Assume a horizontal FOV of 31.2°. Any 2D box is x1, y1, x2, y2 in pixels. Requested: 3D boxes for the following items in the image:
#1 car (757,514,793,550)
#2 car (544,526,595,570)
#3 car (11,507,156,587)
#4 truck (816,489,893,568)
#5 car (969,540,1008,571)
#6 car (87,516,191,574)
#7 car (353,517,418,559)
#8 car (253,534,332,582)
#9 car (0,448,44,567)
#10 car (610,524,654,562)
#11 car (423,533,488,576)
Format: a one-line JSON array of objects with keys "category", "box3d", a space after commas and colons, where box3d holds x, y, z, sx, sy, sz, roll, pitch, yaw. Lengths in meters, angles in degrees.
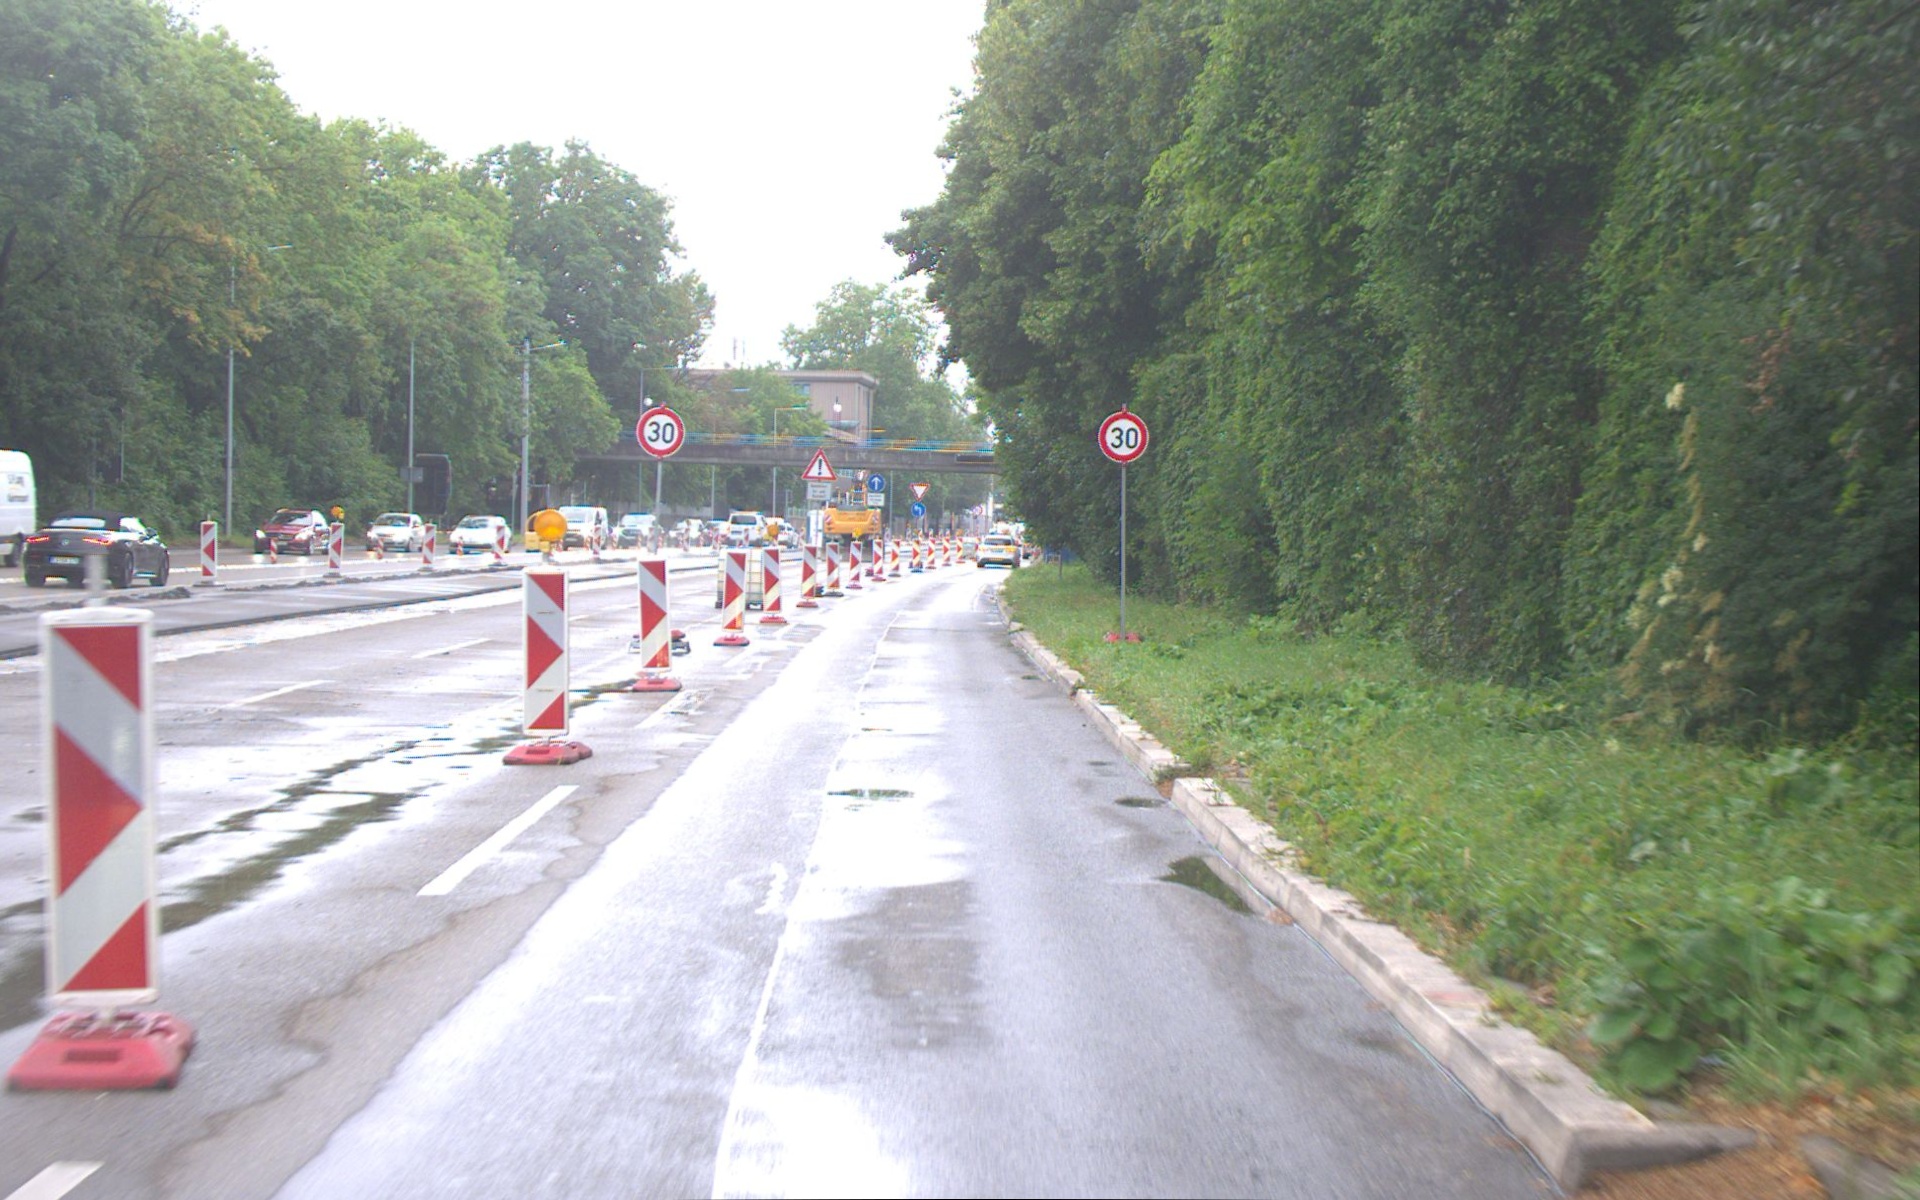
[{"category": "car", "box3d": [-9.929, -3.670, 184.655, 1.670, 1.802, 4.321, 1, 2, 0]}, {"category": "car", "box3d": [-16.882, -2.262, 148.779, 1.670, 1.802, 4.320, 1, 1, 0]}, {"category": "car", "box3d": [-16.210, -0.987, 63.730, 1.607, 1.399, 4.041, 1, 1, 0]}, {"category": "truck", "box3d": [-4.902, -3.372, 162.366, 3.259, 3.485, 13.871, 1, 1, -1]}, {"category": "car", "box3d": [1.277, -1.985, 152.351, 1.697, 1.331, 3.491, -1, 1, 1]}, {"category": "car", "box3d": [-21.712, -1.468, 91.082, 1.670, 1.480, 4.320, 1, 1, 0]}, {"category": "car", "box3d": [-21.244, -2.309, 127.317, 1.670, 1.480, 4.049, 1, 1, 0]}, {"category": "car", "box3d": [-21.619, -1.392, 111.485, 1.670, 1.480, 4.320, 1, 1, 0]}, {"category": "car", "box3d": [-21.749, -2.013, 74.128, 2.099, 2.571, 6.854, 1, 1, 0]}, {"category": "car", "box3d": [-16.156, -2.837, 169.588, 1.670, 1.802, 4.320, 1, 1, 0]}, {"category": "car", "box3d": [-18.309, -1.662, 124.948, 1.670, 1.480, 4.320, 1, 1, 0]}]
